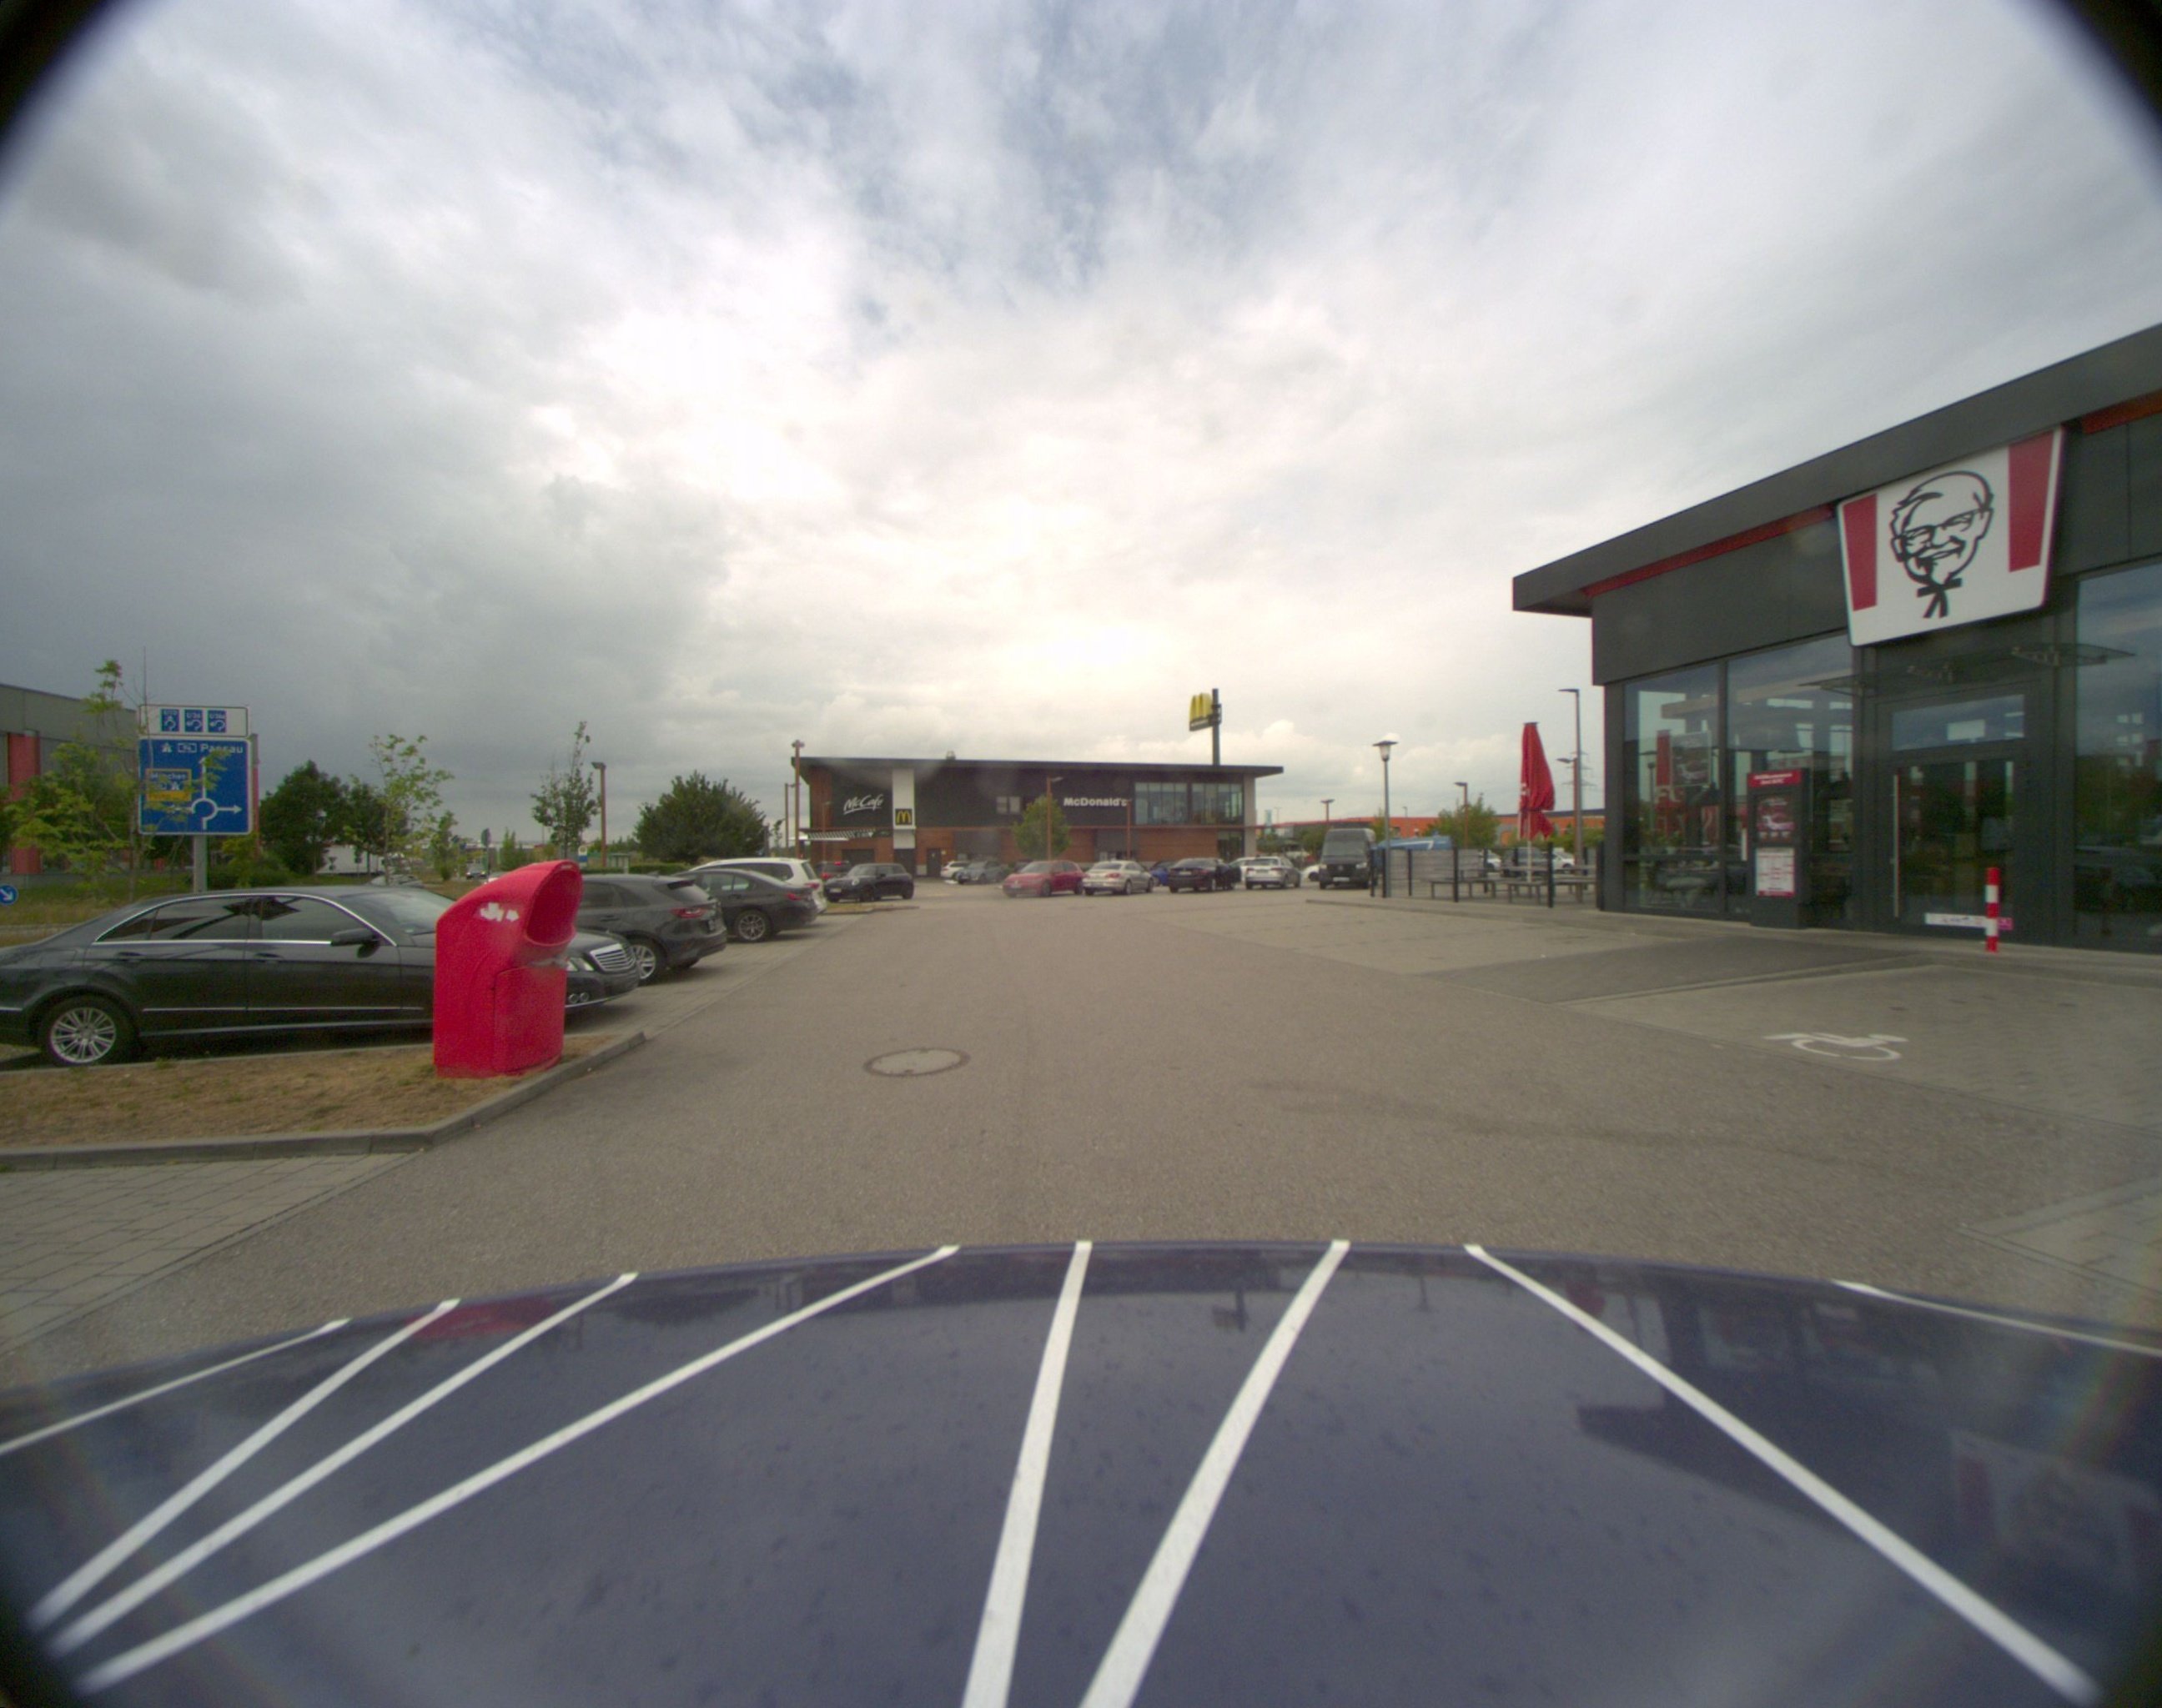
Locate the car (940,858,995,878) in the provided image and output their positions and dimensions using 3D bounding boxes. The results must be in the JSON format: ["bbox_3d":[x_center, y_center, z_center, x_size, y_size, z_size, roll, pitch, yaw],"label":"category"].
[{"bbox_3d":[-8.824,1.073,58.872,4.003,1.497,1.786,1,0,-17],"label":"car"}]

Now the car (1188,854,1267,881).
[{"bbox_3d":[8.301,0.791,43.032,4.101,1.458,1.784,-1,-2,24],"label":"car"}]

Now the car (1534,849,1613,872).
[{"bbox_3d":[35.019,0.438,54.169,2.075,1.544,4.471,-1,0,-18],"label":"car"}]

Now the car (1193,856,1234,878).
[{"bbox_3d":[9.959,0.943,56.973,1.785,1.478,4.006,1,3,28],"label":"car"}]

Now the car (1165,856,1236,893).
[{"bbox_3d":[5.163,0.844,32.400,1.683,1.454,4.415,-1,-1,27],"label":"car"}]

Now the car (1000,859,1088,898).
[{"bbox_3d":[-1.428,0.951,30.769,1.683,1.455,4.008,-1,-1,28],"label":"car"}]

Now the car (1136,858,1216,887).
[{"bbox_3d":[5.204,0.980,41.836,3.989,1.501,1.773,1,0,29],"label":"car"}]

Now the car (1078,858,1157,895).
[{"bbox_3d":[1.600,0.902,31.300,1.749,1.403,4.468,-1,-1,24],"label":"car"}]

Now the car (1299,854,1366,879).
[{"bbox_3d":[15.068,0.758,45.476,3.565,1.445,1.846,-1,-1,26],"label":"car"}]

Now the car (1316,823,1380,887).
[{"bbox_3d":[12.033,0.090,33.890,2.068,2.538,7.025,-1,-1,24],"label":"car"}]

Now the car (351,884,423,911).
[{"bbox_3d":[-42.663,2.651,46.841,1.756,1.482,4.124,-1,-1,-19],"label":"car"}]

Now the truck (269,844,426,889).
[{"bbox_3d":[-76.397,1.260,79.437,11.995,4.472,3.765,1,0,-6],"label":"truck"}]

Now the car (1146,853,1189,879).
[{"bbox_3d":[6.314,0.838,55.199,1.893,1.653,4.265,1,2,25],"label":"car"}]

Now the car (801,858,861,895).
[{"bbox_3d":[-12.700,1.093,38.444,1.814,1.680,4.179,0,0,-34],"label":"car"}]

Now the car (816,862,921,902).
[{"bbox_3d":[-7.982,1.027,28.858,1.683,1.403,3.937,-1,-1,24],"label":"car"}]

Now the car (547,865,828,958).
[{"bbox_3d":[-7.558,1.056,15.095,4.517,1.458,1.945,-3,0,-12],"label":"car"}]

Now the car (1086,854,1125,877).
[{"bbox_3d":[1.878,0.871,58.818,1.754,1.743,3.993,0,0,-18],"label":"car"}]

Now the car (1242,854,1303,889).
[{"bbox_3d":[8.613,0.761,33.942,1.683,1.443,4.008,-1,-1,28],"label":"car"}]

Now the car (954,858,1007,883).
[{"bbox_3d":[-6.781,1.073,51.521,1.746,1.575,3.912,1,0,24],"label":"car"}]

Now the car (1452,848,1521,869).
[{"bbox_3d":[32.592,0.361,61.282,2.074,1.593,4.937,-1,1,-15],"label":"car"}]

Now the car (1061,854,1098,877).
[{"bbox_3d":[-0.160,0.850,58.110,1.754,1.743,3.993,0,0,-18],"label":"car"}]

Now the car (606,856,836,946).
[{"bbox_3d":[-8.115,1.005,17.571,4.373,1.703,1.990,-3,0,-12],"label":"car"}]

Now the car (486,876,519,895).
[{"bbox_3d":[-48.427,2.628,63.678,1.758,1.482,4.121,0,-1,-30],"label":"car"}]

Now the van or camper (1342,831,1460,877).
[{"bbox_3d":[20.319,0.075,48.354,6.556,2.684,2.177,-2,-1,32],"label":"van or camper"}]

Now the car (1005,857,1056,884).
[{"bbox_3d":[-3.417,1.122,52.376,1.995,1.739,4.007,1,-1,20],"label":"car"}]

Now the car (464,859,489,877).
[{"bbox_3d":[-64.274,1.458,80.819,2.004,1.696,3.988,0,1,-40],"label":"car"}]

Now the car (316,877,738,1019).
[{"bbox_3d":[-7.015,1.127,10.137,4.071,1.404,1.886,-3,0,-12],"label":"car"}]

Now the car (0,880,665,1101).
[{"bbox_3d":[-6.885,1.126,7.176,4.742,1.448,1.910,-3,1,-9],"label":"car"}]

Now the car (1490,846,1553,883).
[{"bbox_3d":[21.812,0.510,37.782,1.995,1.718,4.905,0,0,21],"label":"car"}]

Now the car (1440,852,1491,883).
[{"bbox_3d":[18.810,0.637,37.297,1.828,1.403,4.006,-2,0,21],"label":"car"}]

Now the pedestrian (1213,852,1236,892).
[{"bbox_3d":[6.045,0.731,32.078,0.747,1.668,0.844,0,0,27],"label":"pedestrian"}]
